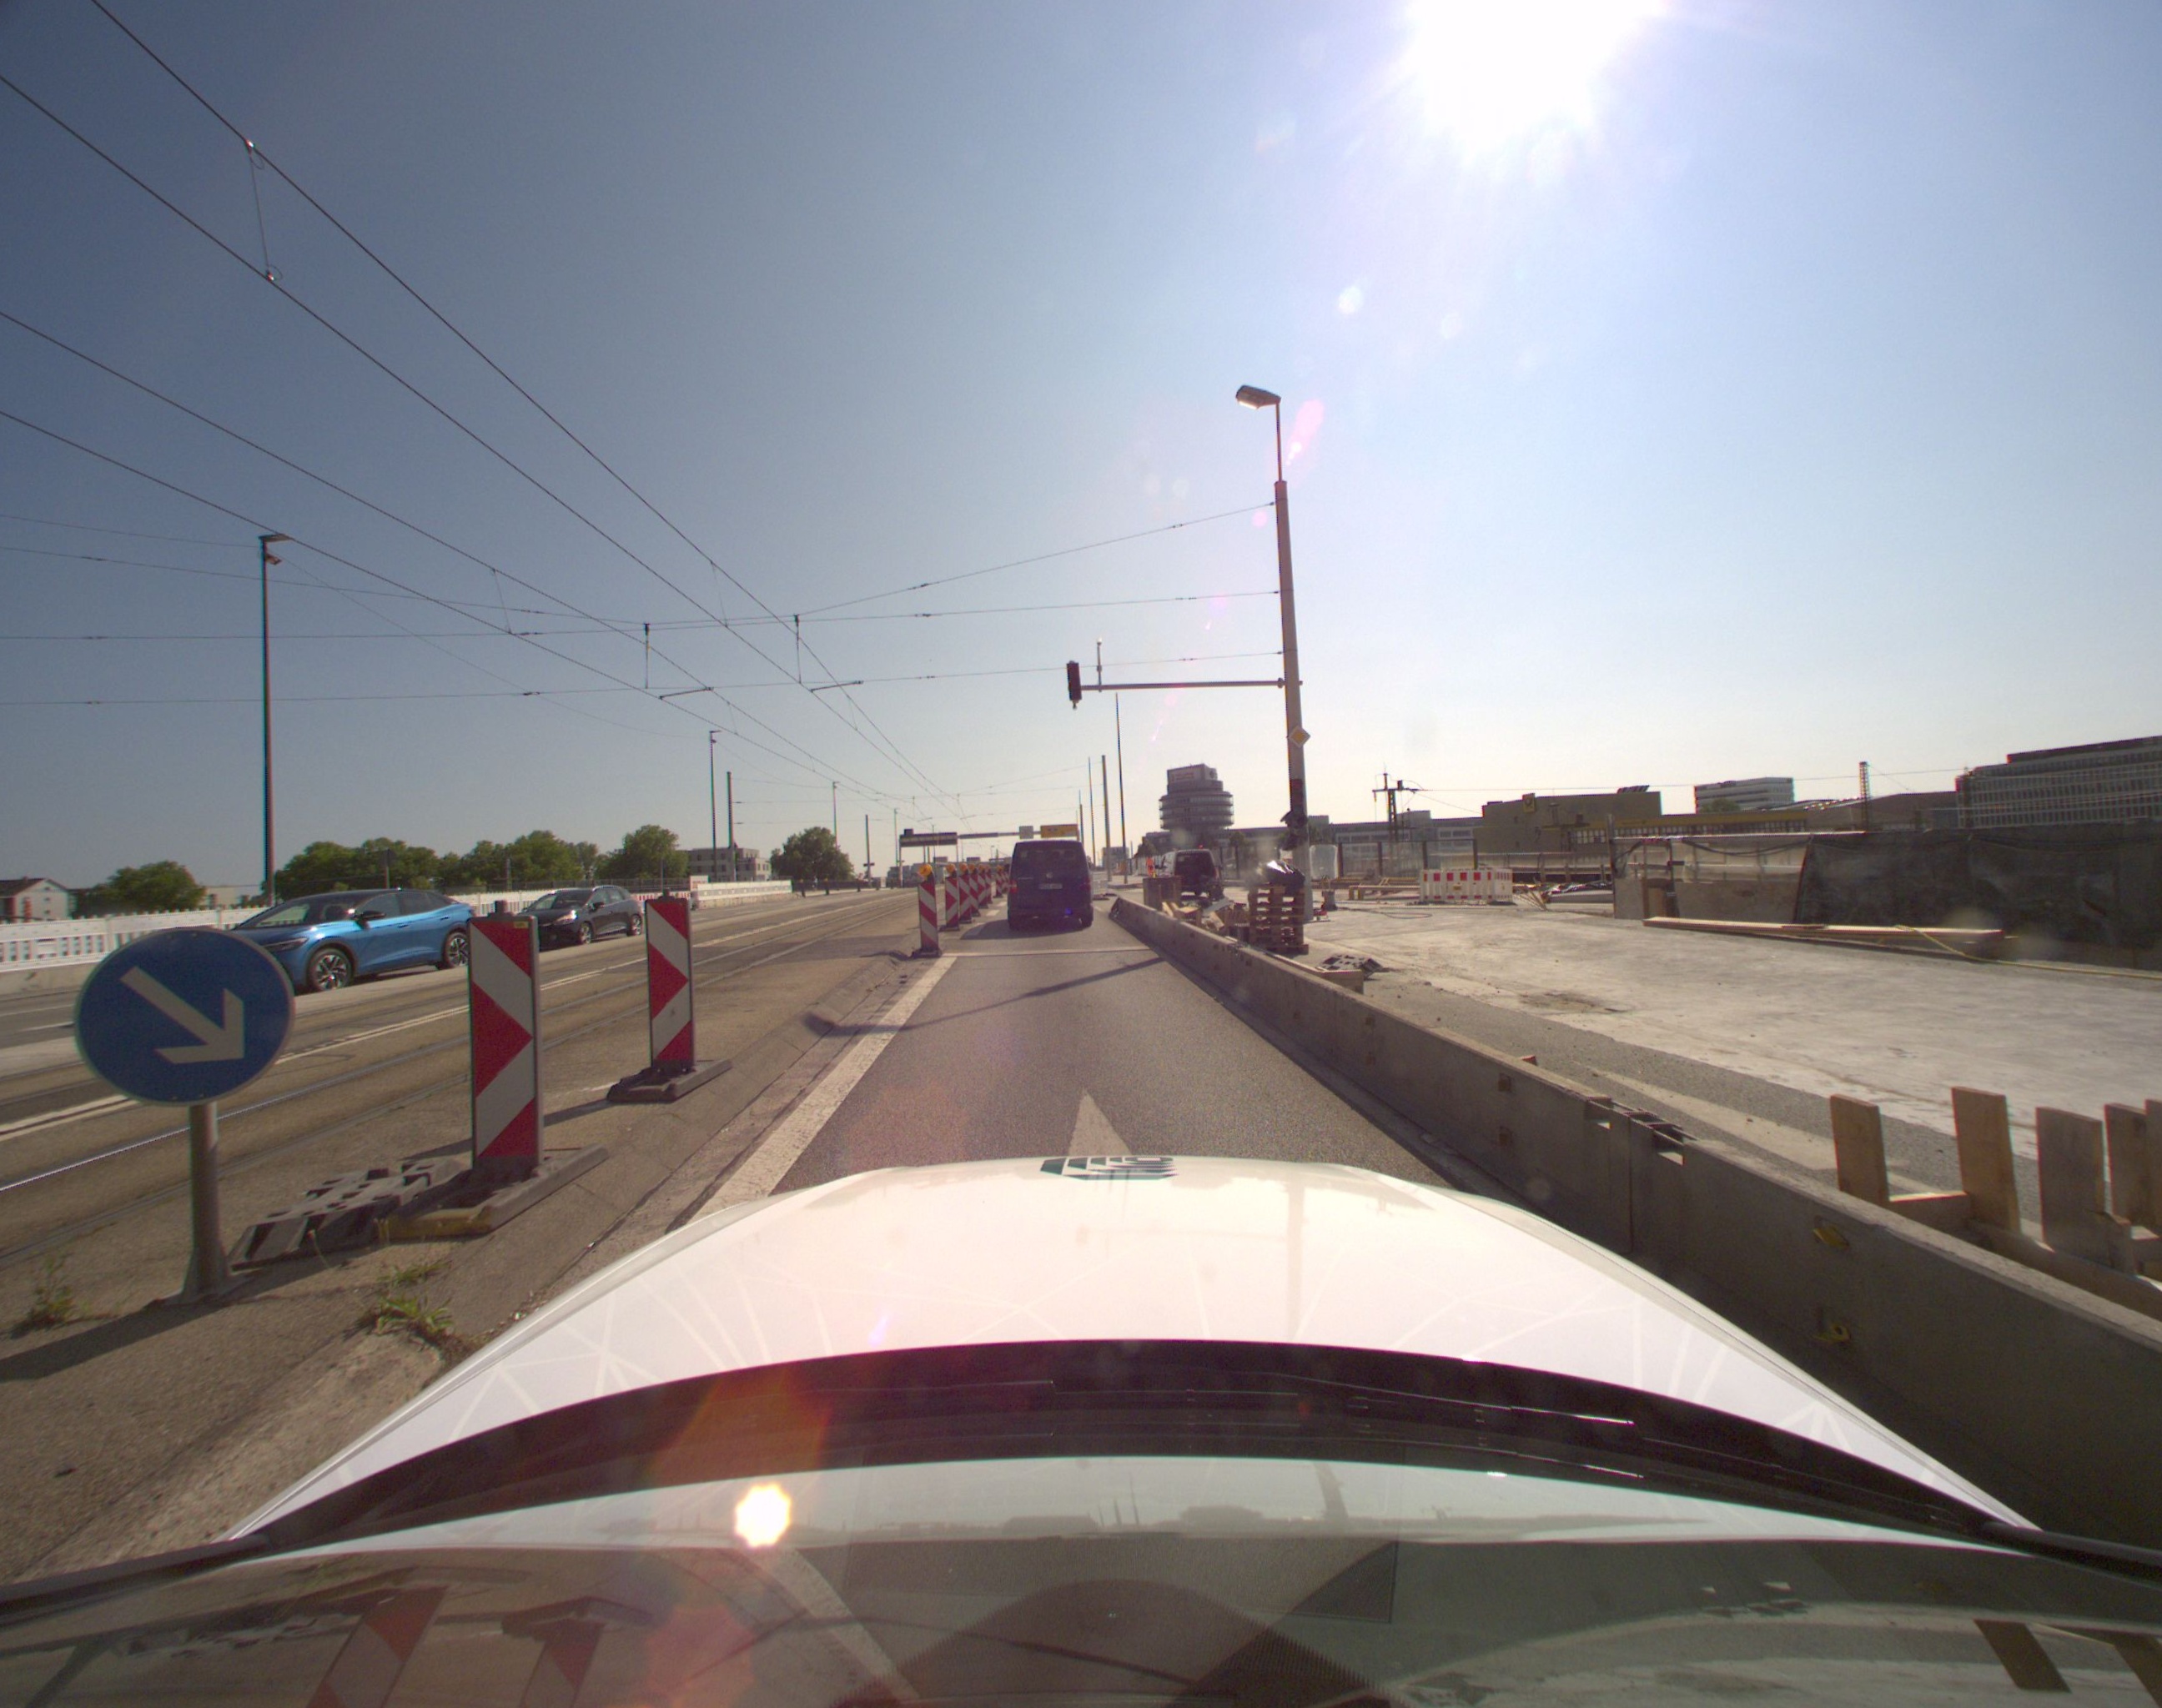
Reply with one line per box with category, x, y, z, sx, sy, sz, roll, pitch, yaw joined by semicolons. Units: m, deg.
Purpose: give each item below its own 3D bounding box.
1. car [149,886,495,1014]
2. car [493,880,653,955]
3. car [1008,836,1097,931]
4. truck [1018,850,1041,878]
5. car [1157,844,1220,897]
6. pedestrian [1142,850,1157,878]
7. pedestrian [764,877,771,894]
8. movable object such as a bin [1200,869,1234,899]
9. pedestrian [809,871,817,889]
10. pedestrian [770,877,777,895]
car;-12.321;1.434;13.747;1.666;1.550;4.550;-4;0;-3
car;-12.633;1.514;20.588;1.502;1.500;4.173;-4;0;-3
car;-0.714;0.636;19.254;1.812;1.905;4.049;-3;0;-3
truck;-6.294;1.174;100.967;2.455;3.134;11.202;-3;0;-3
car;4.475;0.722;34.598;1.874;2.033;4.887;-2;-1;-2
pedestrian;4.877;0.699;57.942;0.780;1.935;0.798;-4;-2;-3
pedestrian;-30.540;3.071;79.383;0.494;1.694;0.473;-1;-2;-3
movable object such as a bin;5.172;1.140;30.952;0.930;1.074;0.897;-3;-1;43
pedestrian;-28.508;2.765;86.606;0.632;1.893;0.751;-2;-1;-3
pedestrian;-29.847;3.130;79.093;0.494;1.694;0.473;-1;-2;-3
